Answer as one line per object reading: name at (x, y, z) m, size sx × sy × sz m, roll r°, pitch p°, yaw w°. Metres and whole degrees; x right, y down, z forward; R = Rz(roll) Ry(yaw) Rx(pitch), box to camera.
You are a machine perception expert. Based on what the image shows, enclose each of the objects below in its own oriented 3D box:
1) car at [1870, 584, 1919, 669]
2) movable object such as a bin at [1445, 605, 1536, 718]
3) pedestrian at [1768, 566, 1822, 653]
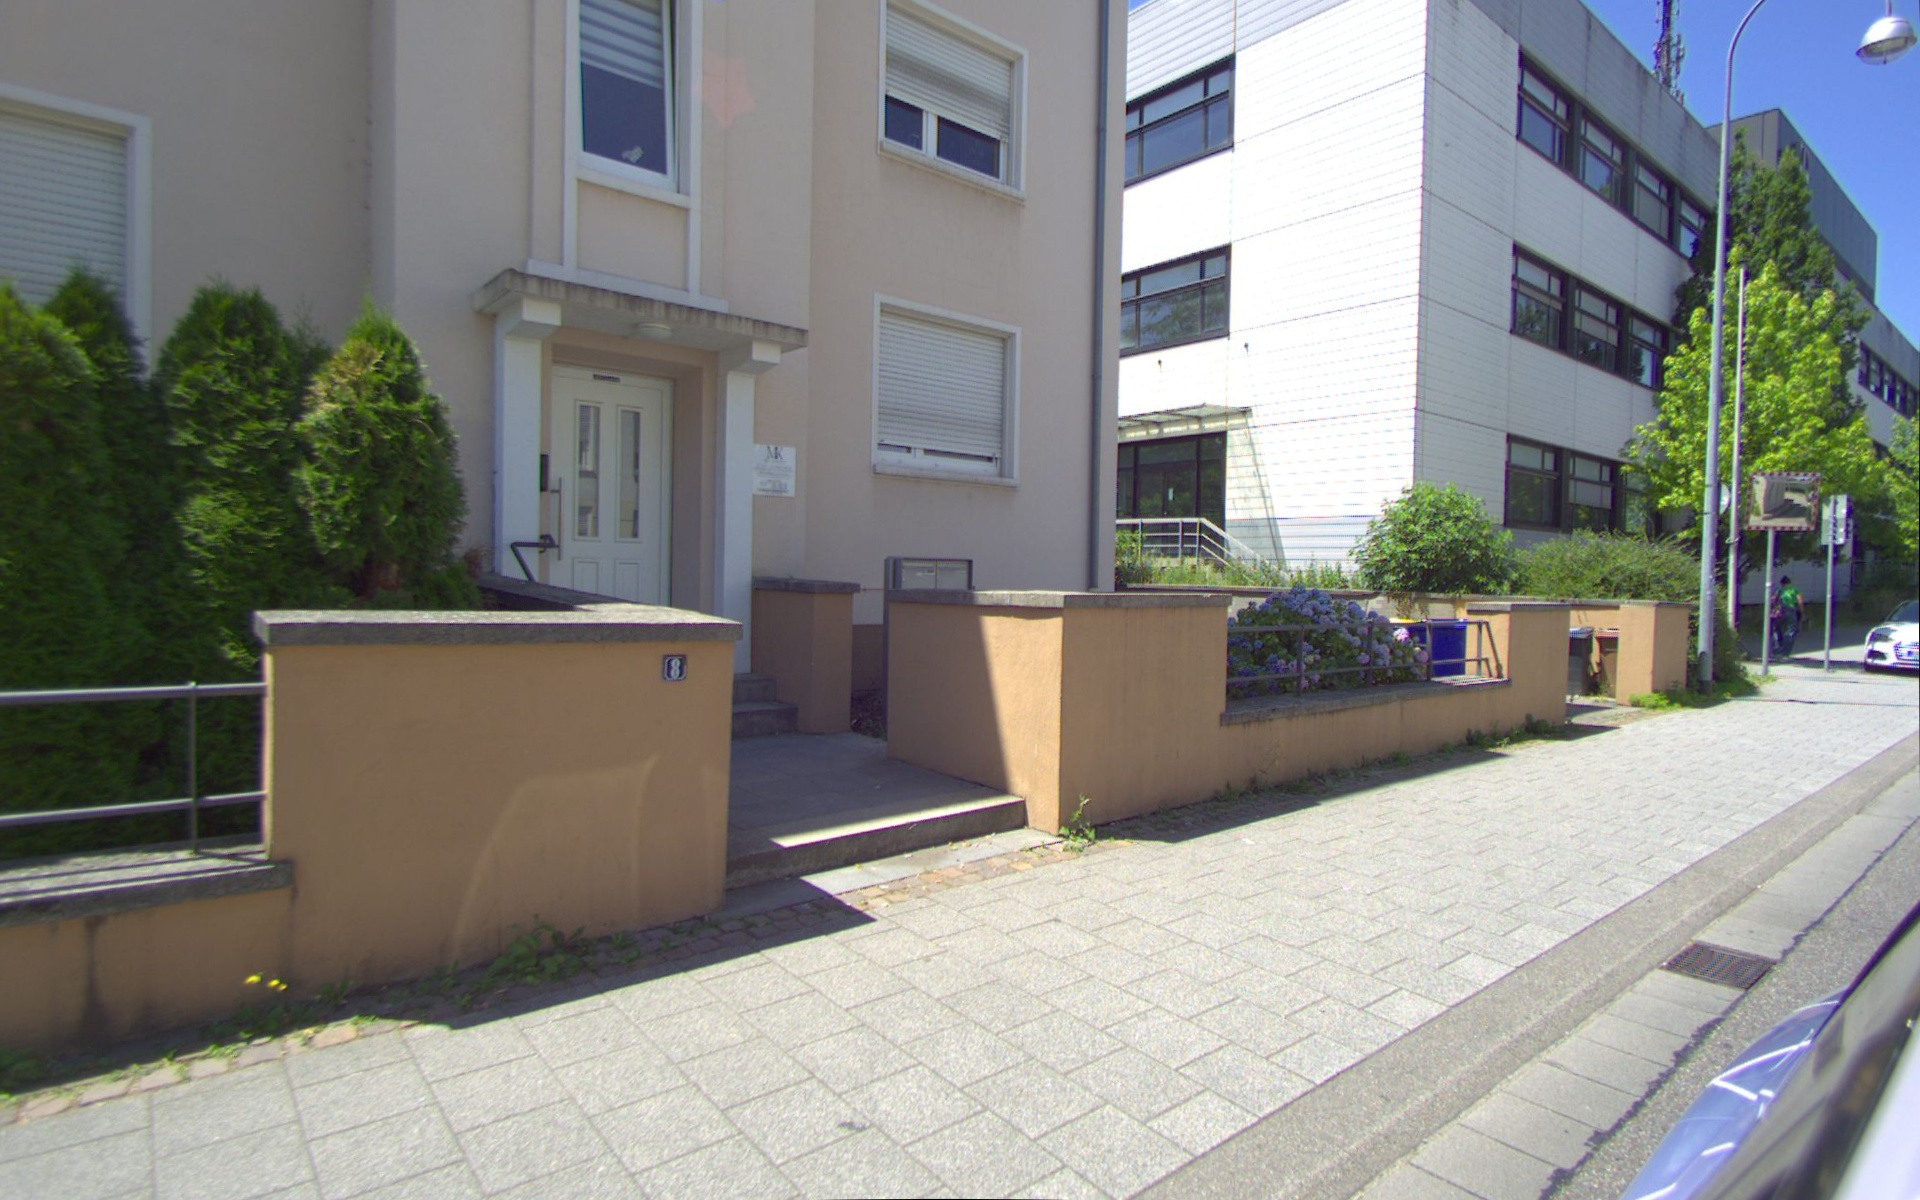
car at (18.954, 0.479, 19.145) m, size 4.794 × 1.487 × 1.920 m, roll 0°, pitch 3°, yaw -40°
movable object such as a bin at (5.623, 0.625, 10.729) m, size 0.621 × 1.113 × 0.626 m, roll 0°, pitch 2°, yaw -37°
pedestrian at (17.425, 0.174, 21.133) m, size 0.676 × 1.720 × 1.038 m, roll 3°, pitch 3°, yaw 34°
